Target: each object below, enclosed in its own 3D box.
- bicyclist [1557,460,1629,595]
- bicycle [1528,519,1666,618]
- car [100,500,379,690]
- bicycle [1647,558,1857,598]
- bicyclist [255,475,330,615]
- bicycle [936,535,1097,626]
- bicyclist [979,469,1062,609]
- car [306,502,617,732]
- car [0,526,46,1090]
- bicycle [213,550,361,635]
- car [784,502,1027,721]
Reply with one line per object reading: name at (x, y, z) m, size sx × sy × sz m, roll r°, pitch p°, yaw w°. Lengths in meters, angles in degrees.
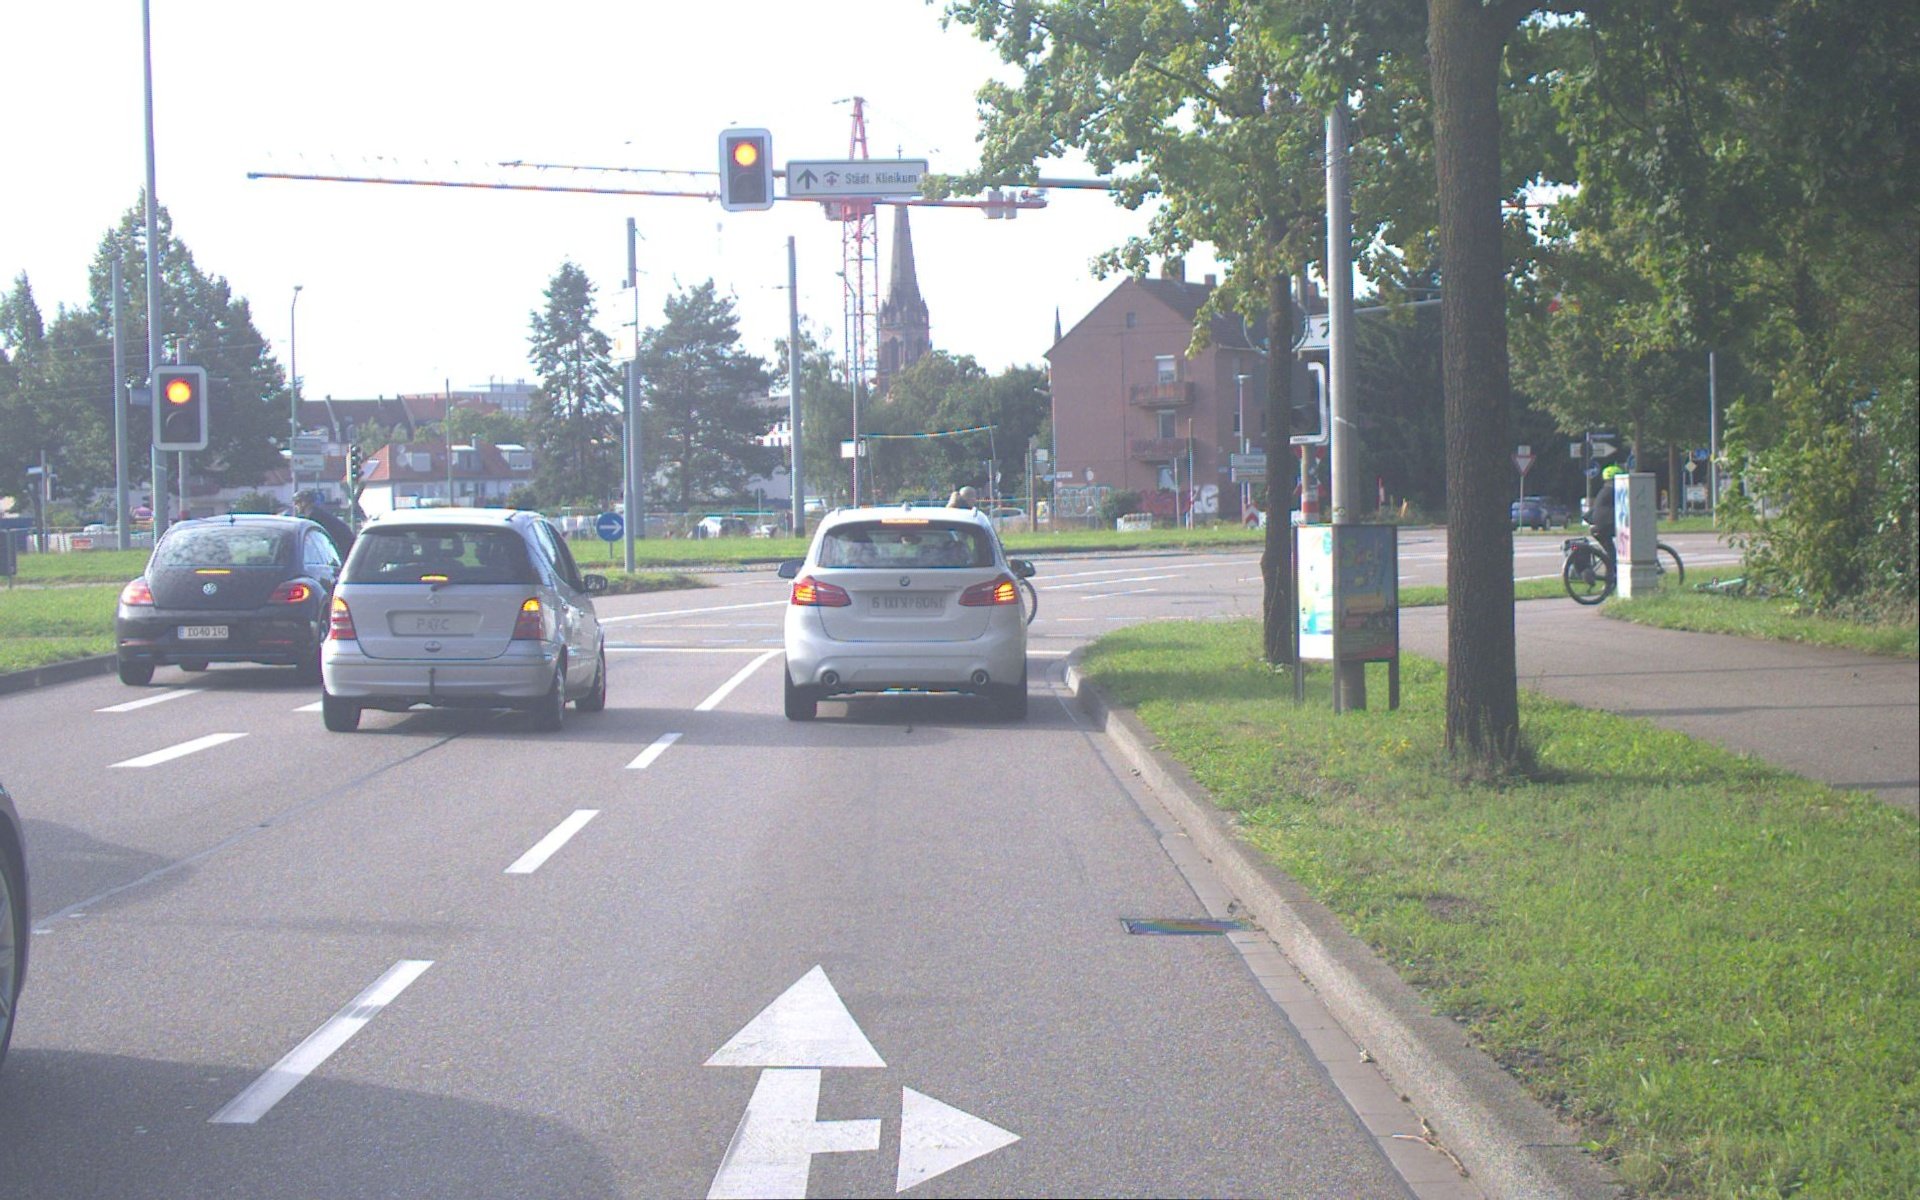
bicyclist at (7.876, -0.907, 42.791) m, size 0.768 × 1.642 × 0.535 m, roll -1°, pitch 2°, yaw -1°
bicycle at (7.930, -0.391, 42.826) m, size 1.619 × 1.213 × 0.491 m, roll -1°, pitch 1°, yaw -1°
car at (-6.419, -0.101, 30.992) m, size 1.721 × 1.559 × 3.878 m, roll 0°, pitch 2°, yaw 0°
bicycle at (9.141, -0.266, 39.825) m, size 1.407 × 0.384 × 2.577 m, roll -2°, pitch 2°, yaw -12°
bicyclist at (-8.082, -0.669, 41.664) m, size 0.788 × 1.662 × 0.549 m, roll -2°, pitch 1°, yaw -5°
bicycle at (0.665, -0.236, 40.699) m, size 1.770 × 1.046 × 0.711 m, roll -1°, pitch 1°, yaw -12°
bicyclist at (0.713, -0.724, 40.699) m, size 0.829 × 1.642 × 0.686 m, roll -1°, pitch 1°, yaw -13°
car at (-3.582, 0.058, 25.348) m, size 1.729 × 1.553 × 4.058 m, roll 0°, pitch 2°, yaw 0°
car at (-3.429, 0.585, 7.158) m, size 1.890 × 1.478 × 4.613 m, roll 0°, pitch 1°, yaw -1°
bicycle at (-8.151, -0.096, 41.674) m, size 1.674 × 0.963 × 0.644 m, roll -2°, pitch 1°, yaw -5°
car at (-0.421, 0.024, 26.452) m, size 1.729 × 1.553 × 4.058 m, roll 0°, pitch 2°, yaw -1°
